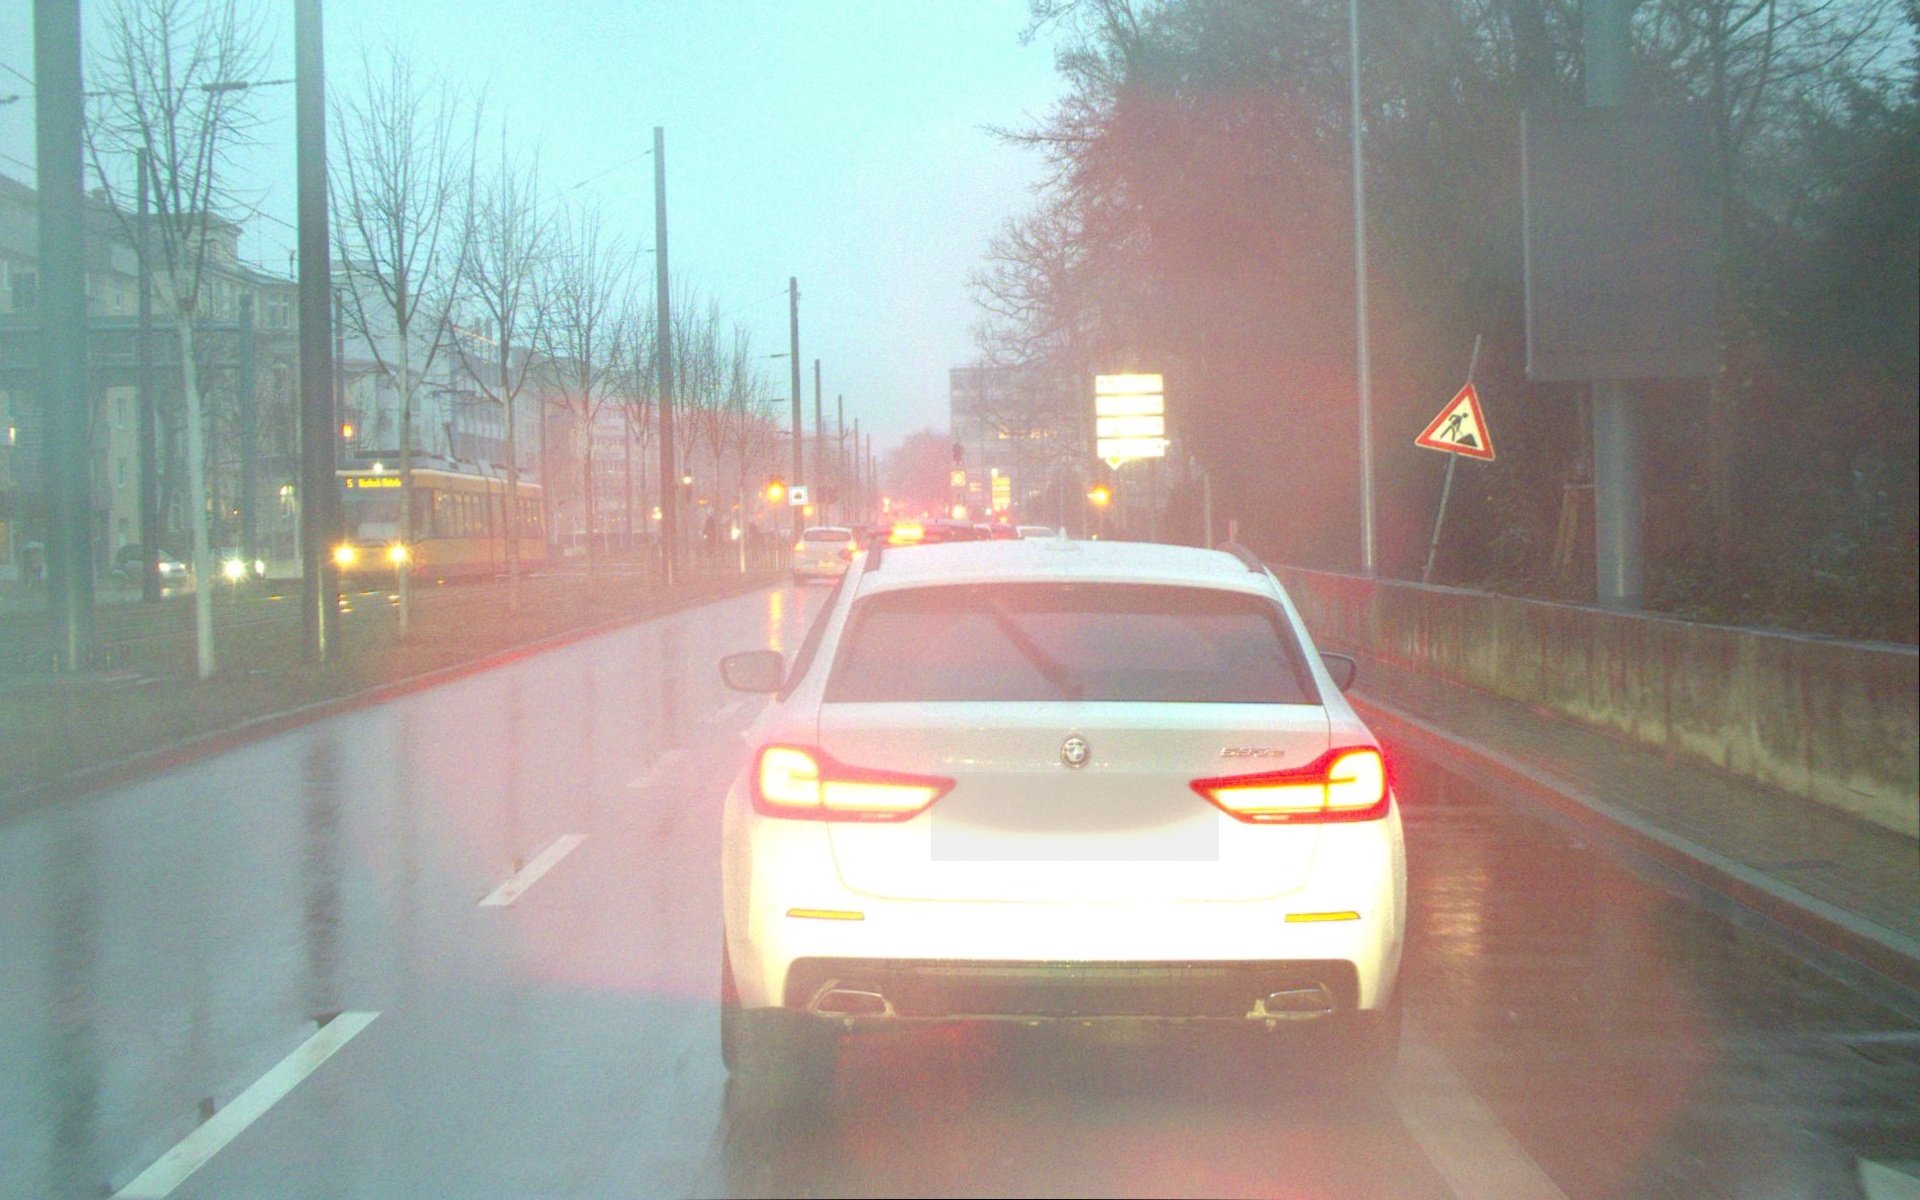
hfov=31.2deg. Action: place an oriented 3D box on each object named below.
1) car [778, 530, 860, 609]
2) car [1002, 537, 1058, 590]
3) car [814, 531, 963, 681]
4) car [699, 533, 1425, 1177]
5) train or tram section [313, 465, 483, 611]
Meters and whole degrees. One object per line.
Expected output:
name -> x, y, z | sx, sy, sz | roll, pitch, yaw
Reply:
car -> -3.648, -0.814, 89.634 | 1.993, 2.007, 4.000 | 0, 1, 0
car -> 2.662, -1.423, 131.665 | 1.993, 2.007, 4.000 | 0, 1, 0
car -> -0.972, 0.047, 48.070 | 1.993, 2.007, 4.000 | 0, 1, 0
car -> 0.106, 0.577, 10.434 | 1.759, 1.547, 4.252 | 0, 1, -4
train or tram section -> -14.402, -1.603, 88.754 | 2.842, 3.492, 9.159 | -2, 1, 0
